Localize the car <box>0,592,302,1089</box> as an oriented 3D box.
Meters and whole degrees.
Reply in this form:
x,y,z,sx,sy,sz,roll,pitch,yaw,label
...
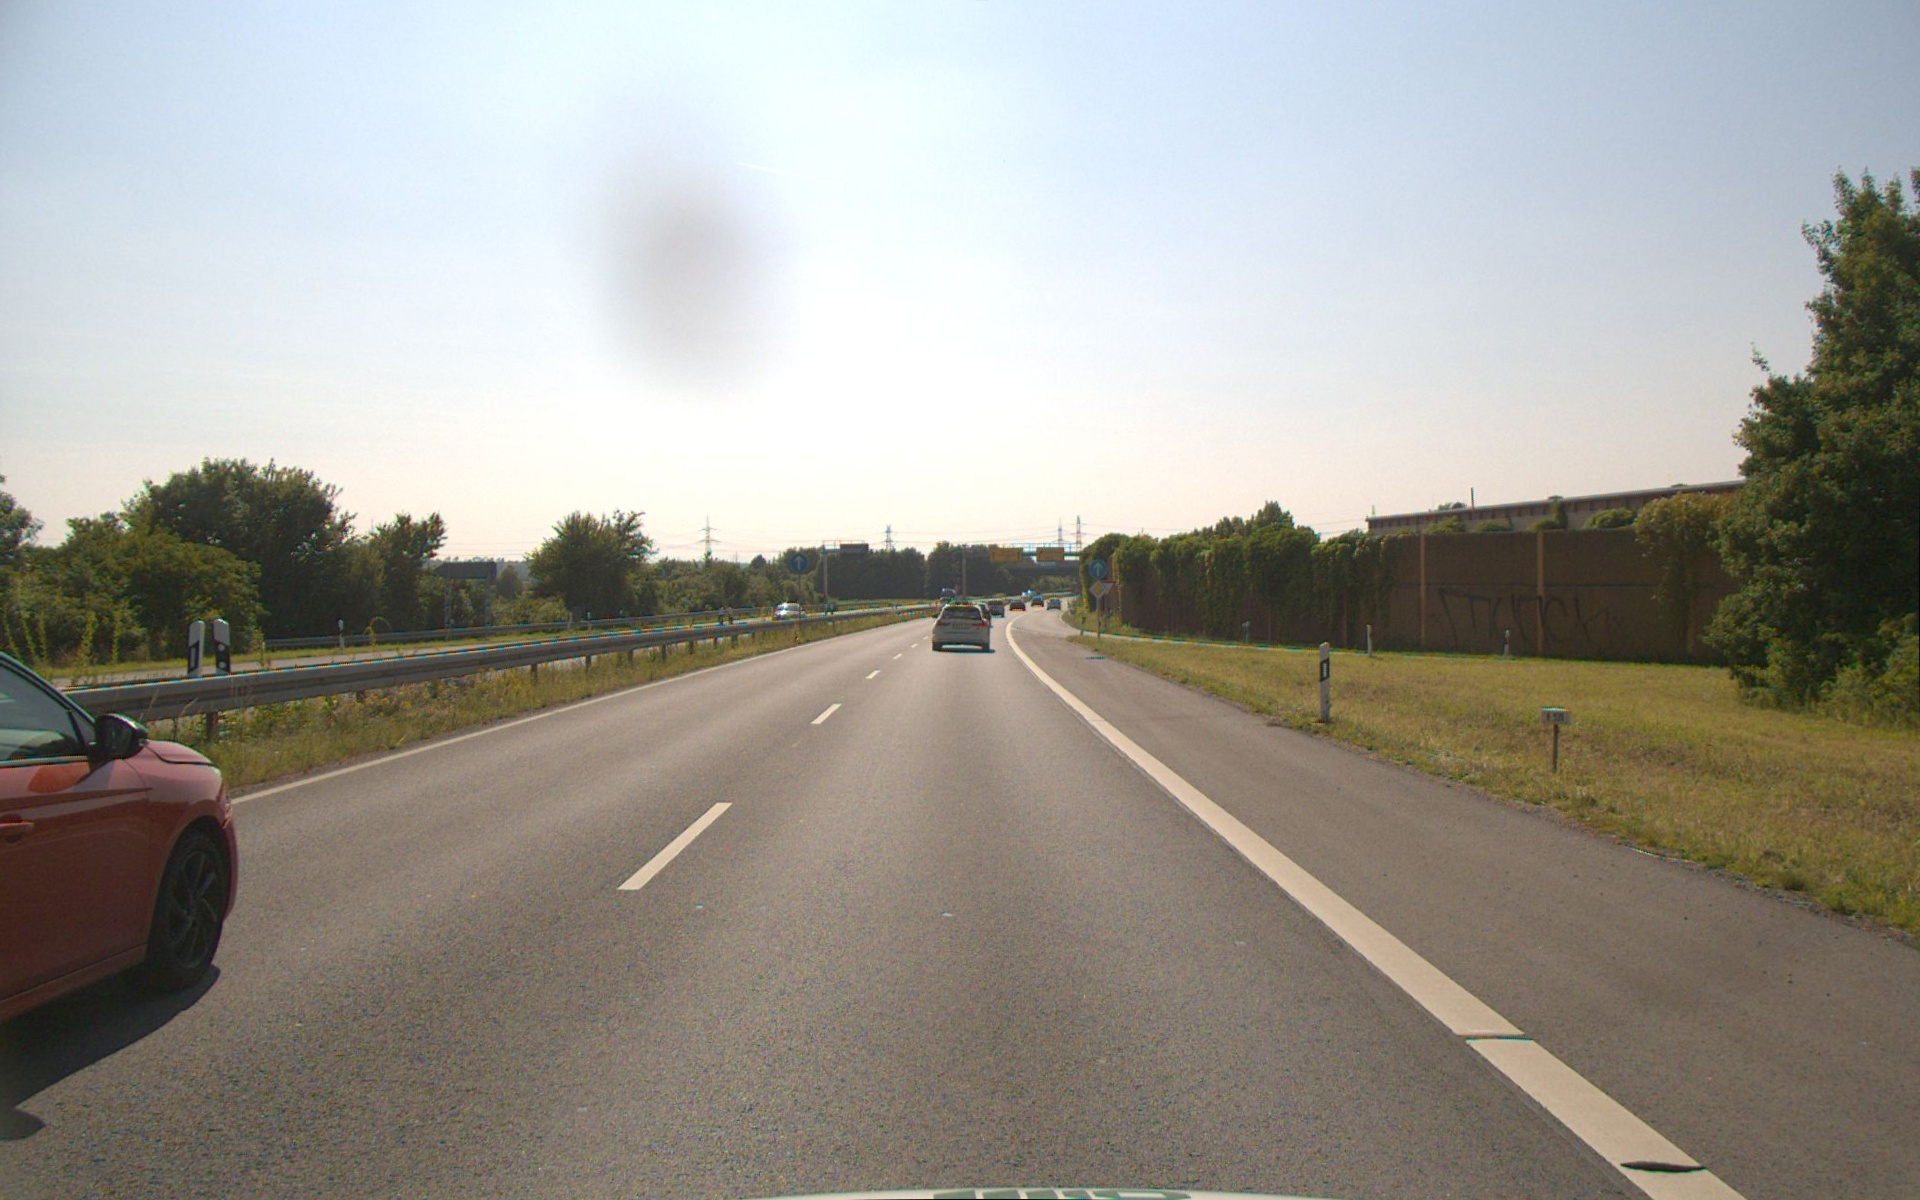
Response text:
x,y,z,sx,sy,sz,roll,pitch,yaw,label
-3.670,0.719,5.001,1.674,1.462,4.410,-1,0,-1,car

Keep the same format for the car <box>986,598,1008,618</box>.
x,y,z,sx,sy,sz,roll,pitch,yaw,label
3.273,0.683,146.030,1.732,1.767,3.633,0,0,4,car

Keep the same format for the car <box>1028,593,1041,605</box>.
x,y,z,sx,sy,sz,roll,pitch,yaw,label
10.993,-0.159,243.346,1.802,1.728,4.002,0,0,5,car

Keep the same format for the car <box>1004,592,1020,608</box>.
x,y,z,sx,sy,sz,roll,pitch,yaw,label
6.226,0.008,198.349,1.803,1.834,4.001,0,0,3,car

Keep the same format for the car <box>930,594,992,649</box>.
x,y,z,sx,sy,sz,roll,pitch,yaw,label
-0.006,0.672,53.618,1.918,1.629,4.106,1,1,-1,car

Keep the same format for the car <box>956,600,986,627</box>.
x,y,z,sx,sy,sz,roll,pitch,yaw,label
0.701,0.808,99.853,1.756,1.570,3.672,0,0,1,car

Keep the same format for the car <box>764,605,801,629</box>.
x,y,z,sx,sy,sz,roll,pitch,yaw,label
-11.227,1.045,104.670,1.763,1.445,4.676,1,0,0,car
